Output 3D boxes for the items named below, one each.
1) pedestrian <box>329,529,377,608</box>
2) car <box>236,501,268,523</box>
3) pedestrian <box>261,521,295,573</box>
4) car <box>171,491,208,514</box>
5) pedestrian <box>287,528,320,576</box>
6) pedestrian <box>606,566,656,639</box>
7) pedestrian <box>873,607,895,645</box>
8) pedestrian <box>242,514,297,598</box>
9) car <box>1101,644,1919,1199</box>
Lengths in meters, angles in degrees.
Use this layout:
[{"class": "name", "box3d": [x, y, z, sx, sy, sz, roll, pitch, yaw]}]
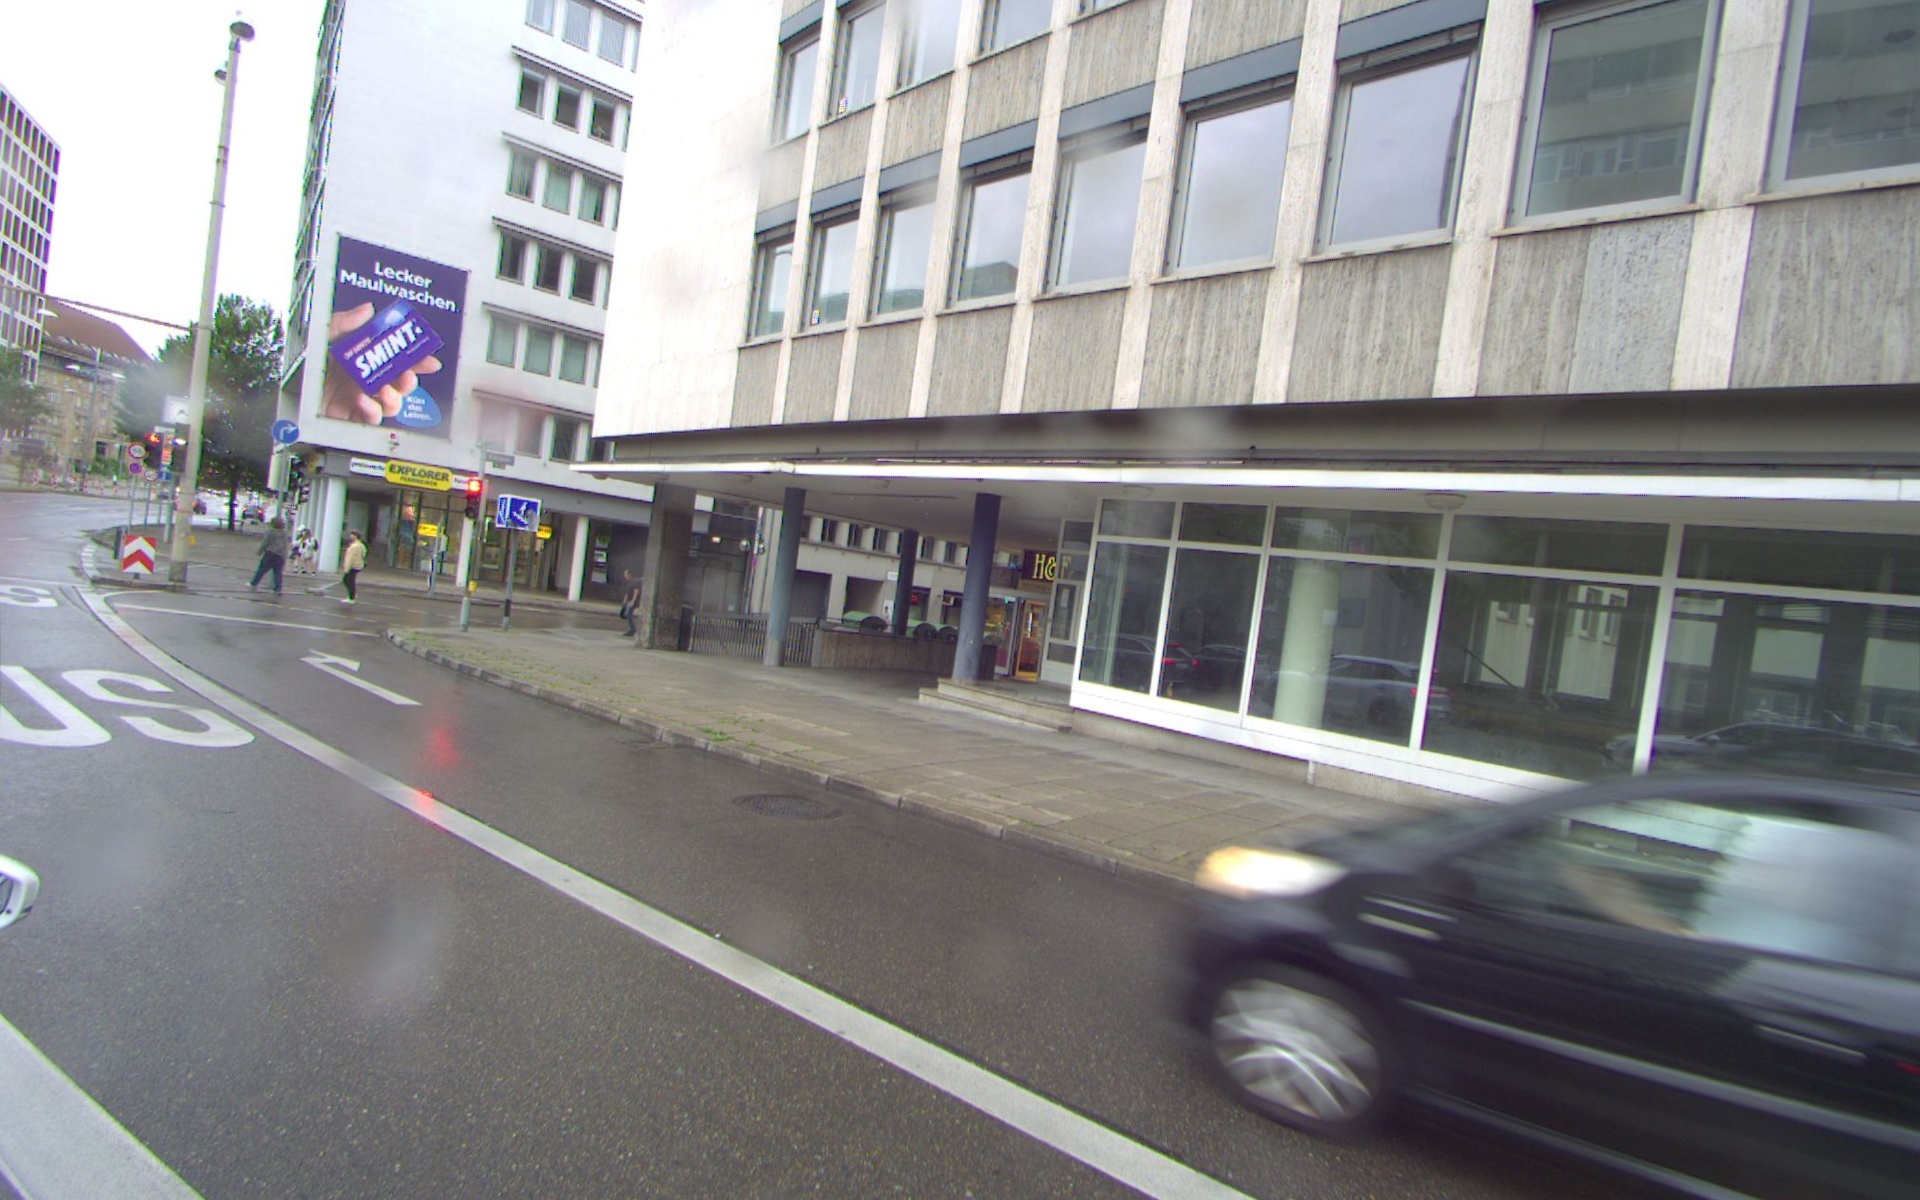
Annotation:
[{"class": "pedestrian", "box3d": [-14.890, -0.774, 24.674, 0.725, 1.820, 0.730, 7, 0, -43]}, {"class": "car", "box3d": [-71.808, -8.895, 102.134, 2.032, 1.786, 4.324, 9, -2, -29]}, {"class": "pedestrian", "box3d": [-23.414, -1.814, 34.524, 0.725, 1.688, 0.682, 7, 0, -43]}, {"class": "car", "box3d": [-67.959, -8.612, 88.814, 1.897, 1.527, 4.322, 9, -2, -31]}, {"class": "pedestrian", "box3d": [-22.804, -1.674, 34.937, 0.725, 1.542, 0.751, 7, -1, -43]}, {"class": "pedestrian", "box3d": [-8.676, 0.059, 26.581, 1.002, 1.776, 0.793, 7, -1, -14]}, {"class": "pedestrian", "box3d": [-3.842, 1.328, 50.868, 0.677, 1.820, 0.722, 7, 0, -37]}, {"class": "pedestrian", "box3d": [-16.159, -1.032, 23.528, 0.810, 1.820, 0.702, 7, 0, -43]}, {"class": "car", "box3d": [2.465, 1.153, 3.391, 3.429, 1.490, 1.663, 7, -1, 36]}]
